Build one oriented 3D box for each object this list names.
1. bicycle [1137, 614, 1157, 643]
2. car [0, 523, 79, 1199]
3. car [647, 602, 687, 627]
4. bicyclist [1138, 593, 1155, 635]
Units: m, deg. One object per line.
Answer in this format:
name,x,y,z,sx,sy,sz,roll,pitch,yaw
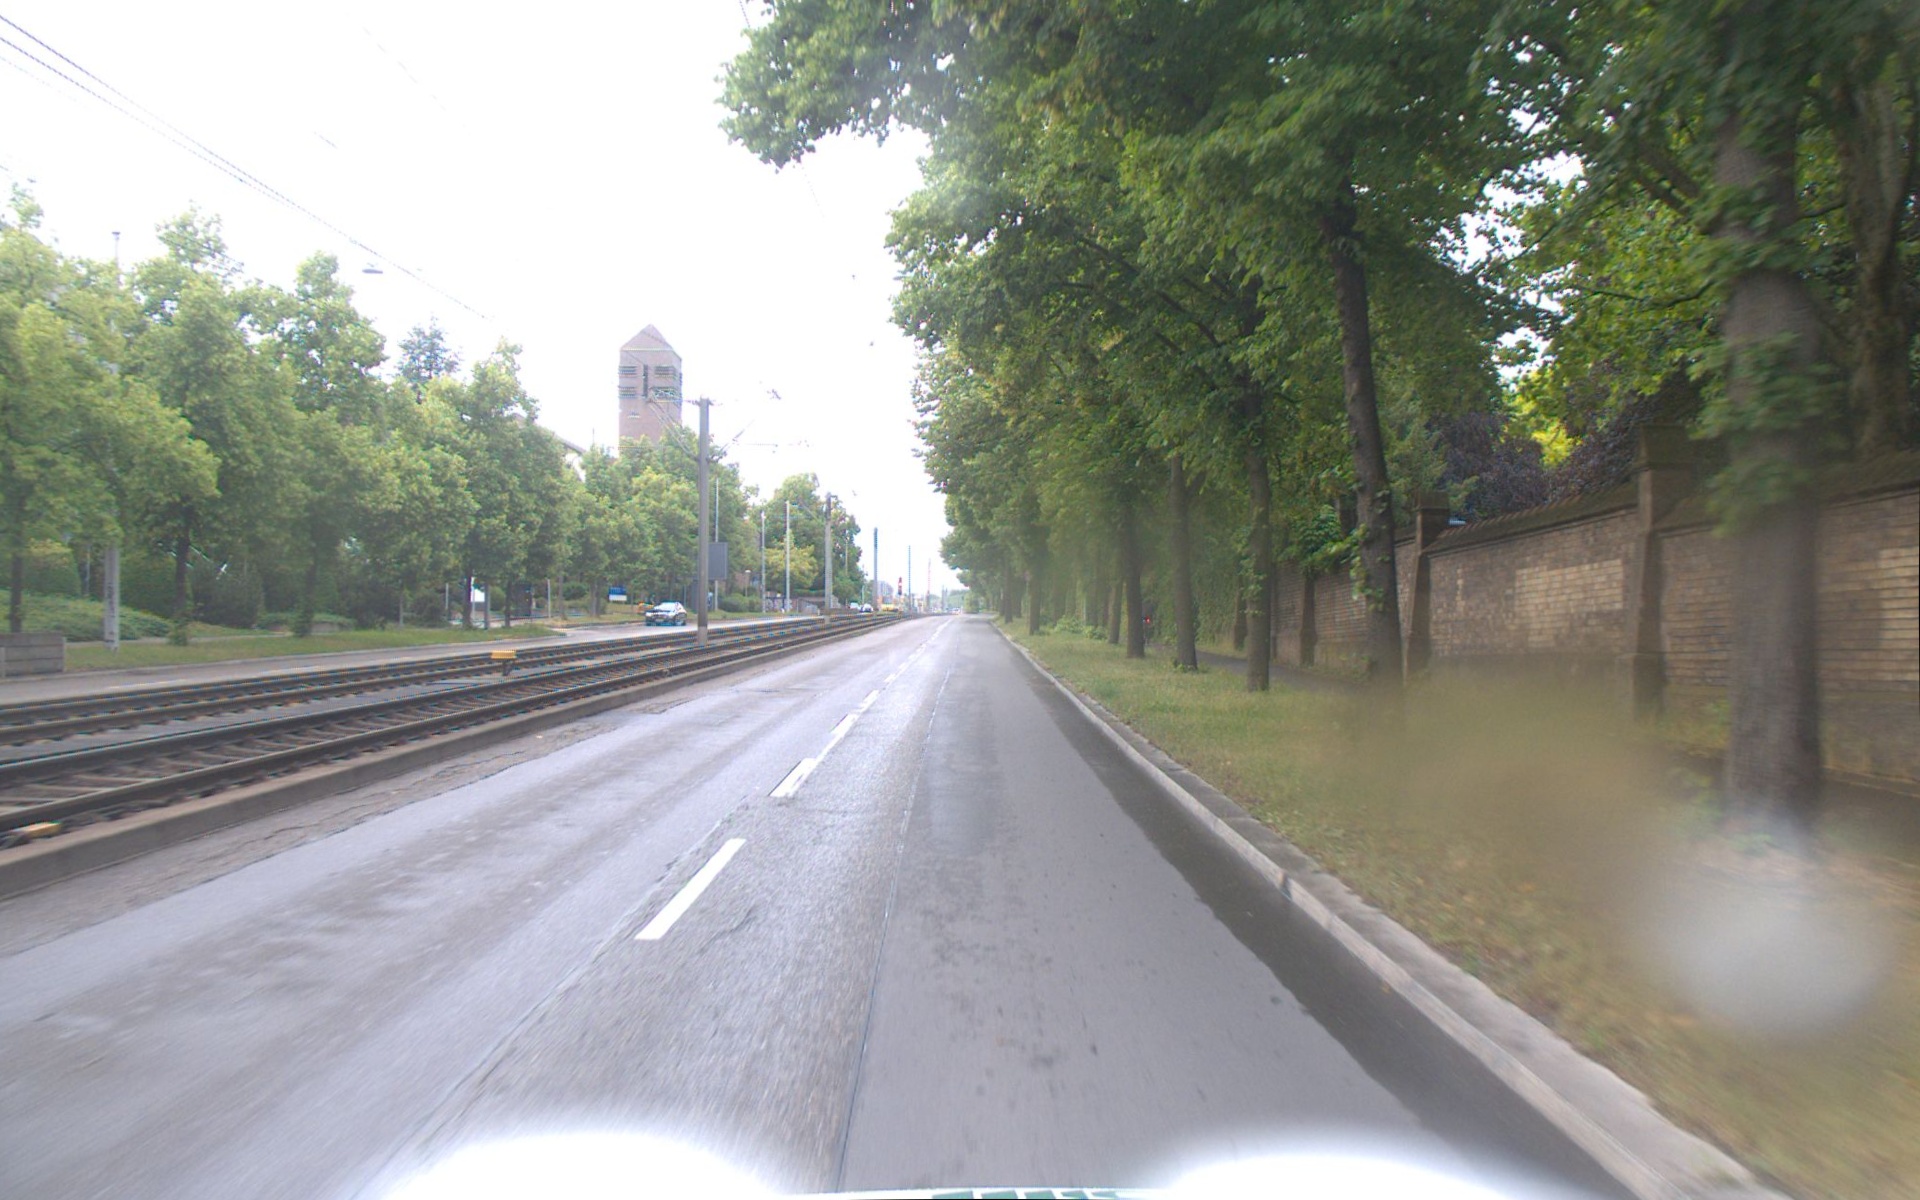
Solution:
bicycle,6.392,0.979,56.648,0.531,0.964,2.550,0,0,4
car,-2.572,0.637,1.398,1.641,1.557,3.721,0,0,0
car,-18.376,0.887,103.909,1.758,1.557,4.621,0,0,-1
bicyclist,6.373,0.486,56.554,0.524,1.414,0.666,0,-1,3
